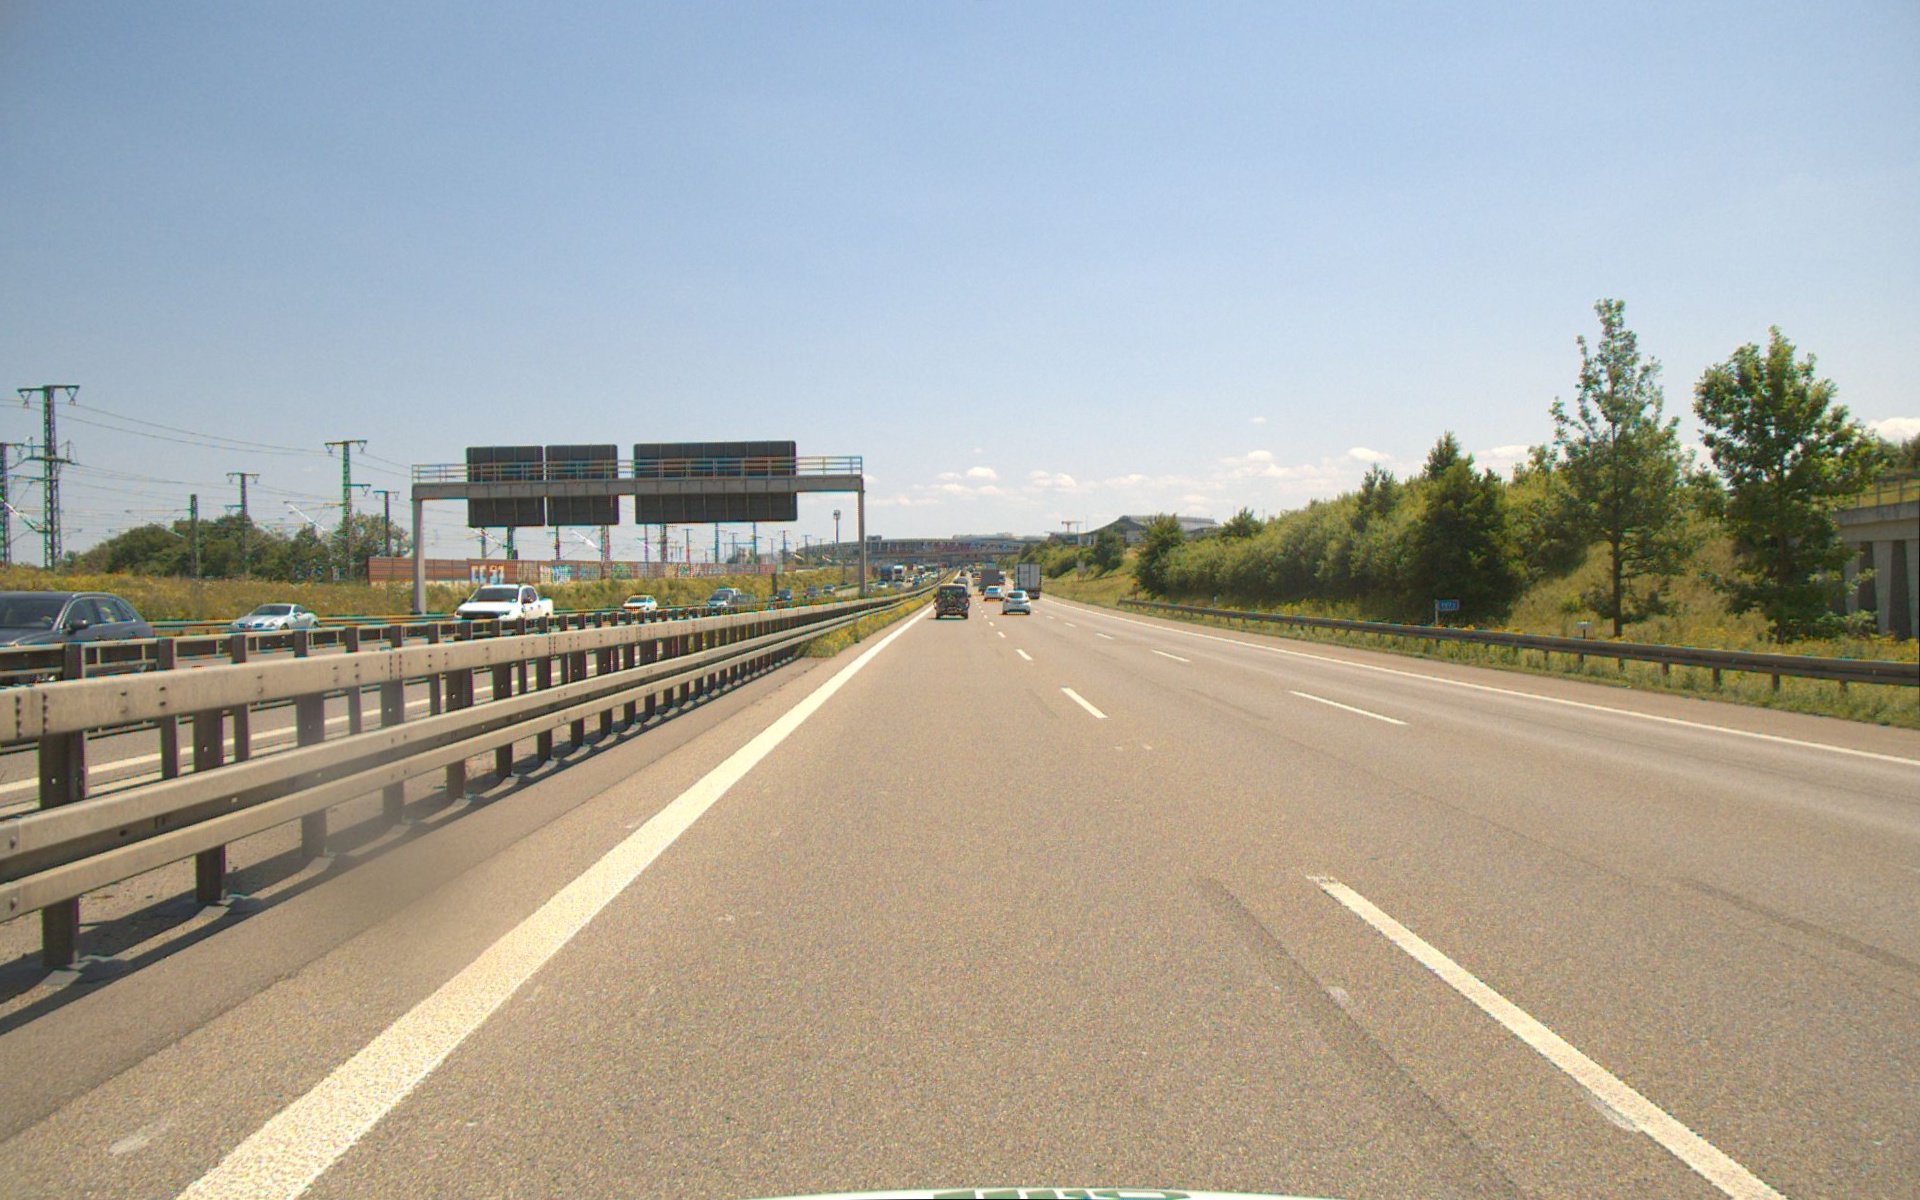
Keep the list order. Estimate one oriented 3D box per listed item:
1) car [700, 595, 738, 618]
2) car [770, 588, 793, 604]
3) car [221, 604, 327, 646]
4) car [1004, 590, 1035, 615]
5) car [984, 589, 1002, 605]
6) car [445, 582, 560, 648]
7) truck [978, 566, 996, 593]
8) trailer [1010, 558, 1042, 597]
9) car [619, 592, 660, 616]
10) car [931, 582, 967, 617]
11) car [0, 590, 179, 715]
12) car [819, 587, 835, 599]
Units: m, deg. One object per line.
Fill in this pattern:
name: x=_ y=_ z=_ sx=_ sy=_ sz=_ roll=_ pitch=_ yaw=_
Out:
car: x=-16.984 y=0.454 z=116.716 sx=1.952 sy=1.603 sz=4.477 roll=0 pitch=0 yaw=0
car: x=-19.972 y=-0.465 z=185.186 sx=1.952 sy=1.756 sz=4.513 roll=0 pitch=1 yaw=1
car: x=-23.324 y=0.825 z=56.396 sx=1.953 sy=1.334 sz=4.162 roll=0 pitch=0 yaw=-1
car: x=3.705 y=0.139 z=102.630 sx=1.841 sy=1.553 sz=4.002 roll=0 pitch=0 yaw=3
car: x=3.352 y=-0.317 z=167.333 sx=1.842 sy=1.553 sz=4.001 roll=0 pitch=0 yaw=1
car: x=-13.586 y=0.427 z=49.474 sx=1.953 sy=1.863 sz=5.598 roll=0 pitch=0 yaw=-1
truck: x=3.493 y=-2.648 z=213.201 sx=2.307 sy=3.475 sz=6.058 roll=0 pitch=1 yaw=0
trailer: x=7.342 y=-2.542 z=184.946 sx=3.112 sy=4.130 sz=9.440 roll=-1 pitch=1 yaw=0
car: x=-21.918 y=0.243 z=113.266 sx=1.952 sy=1.603 sz=4.477 roll=0 pitch=0 yaw=0
car: x=-0.566 y=-0.035 z=87.873 sx=1.842 sy=1.806 sz=4.000 roll=-1 pitch=0 yaw=0
car: x=-13.059 y=0.672 z=23.399 sx=1.953 sy=1.601 sz=4.549 roll=0 pitch=0 yaw=-2
car: x=-19.622 y=-1.101 z=244.002 sx=1.953 sy=1.756 sz=4.513 roll=0 pitch=1 yaw=0
